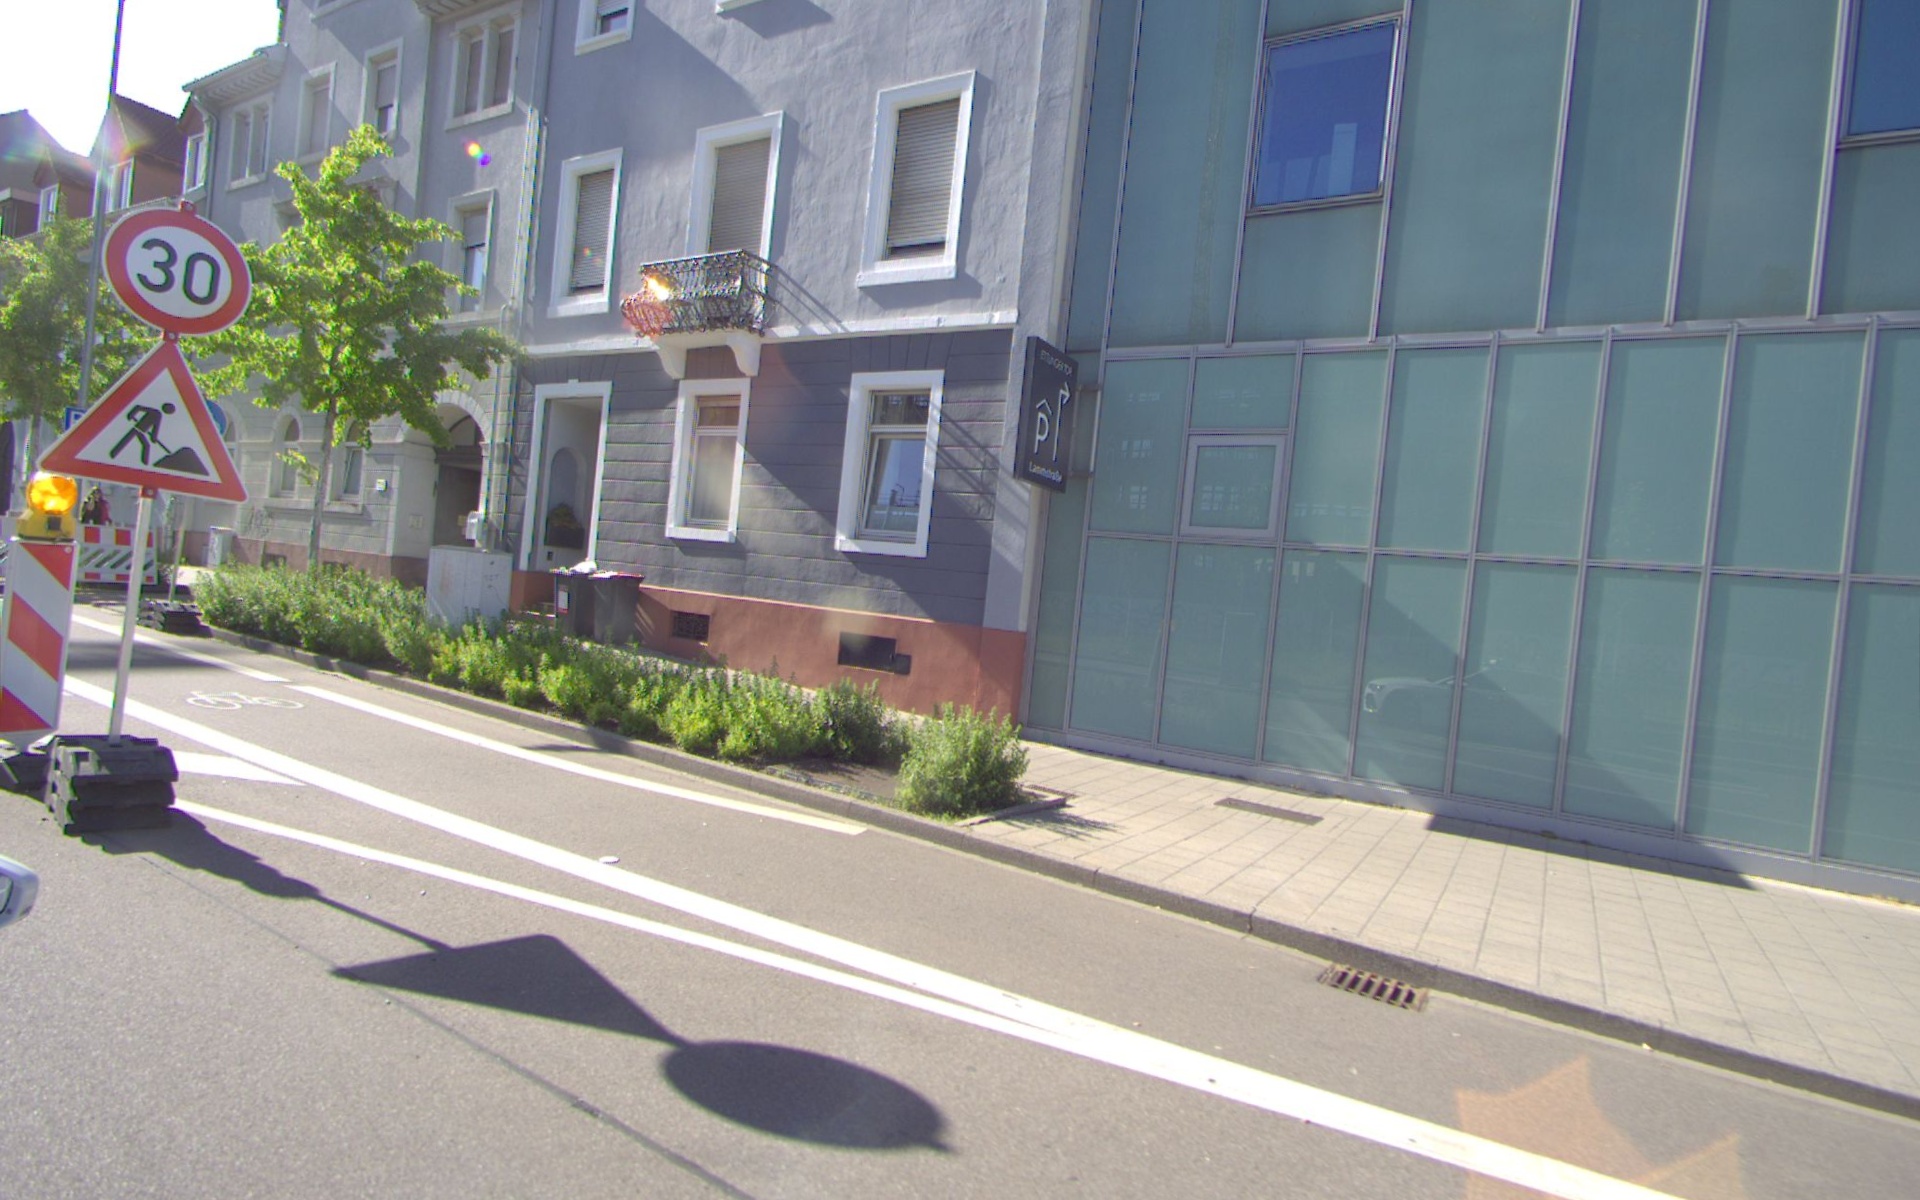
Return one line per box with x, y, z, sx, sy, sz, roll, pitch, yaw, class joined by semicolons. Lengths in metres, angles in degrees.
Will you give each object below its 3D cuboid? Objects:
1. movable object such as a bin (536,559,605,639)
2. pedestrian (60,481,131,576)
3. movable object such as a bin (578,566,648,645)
-5.999;-0.015;15.494;0.692;1.122;0.589;7;0;33;movable object such as a bin
-19.008;-1.556;22.130;0.756;1.952;0.795;7;0;24;pedestrian
-5.241;0.089;15.204;0.692;1.095;0.603;7;0;33;movable object such as a bin
